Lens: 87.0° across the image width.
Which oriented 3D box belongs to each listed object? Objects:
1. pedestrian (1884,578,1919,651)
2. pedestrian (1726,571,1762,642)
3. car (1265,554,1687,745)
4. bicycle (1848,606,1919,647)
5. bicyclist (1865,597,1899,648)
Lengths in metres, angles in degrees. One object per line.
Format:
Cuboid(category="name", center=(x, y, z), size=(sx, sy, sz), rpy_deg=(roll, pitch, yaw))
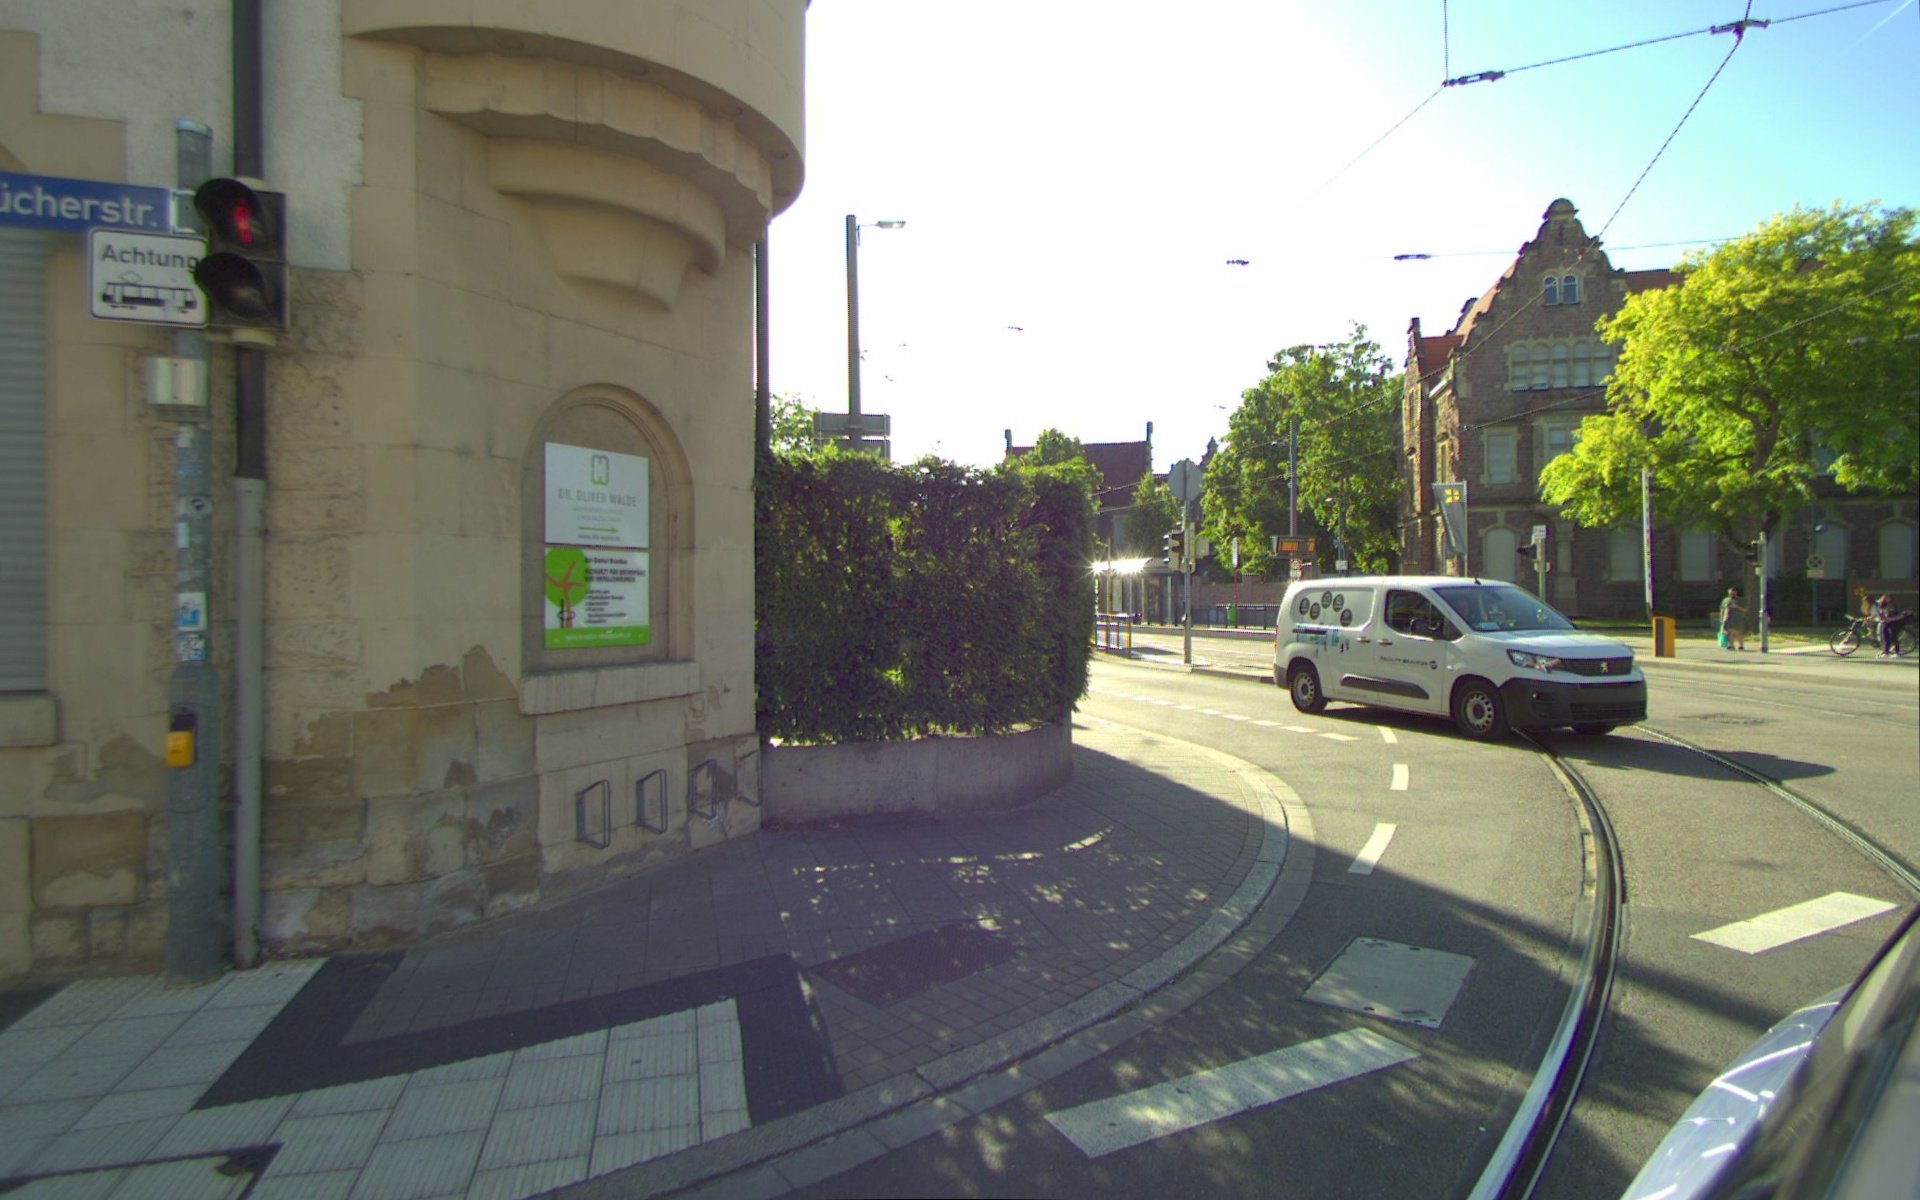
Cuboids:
Cuboid(category="pedestrian", center=(23.089, 0.342, 24.724), size=(0.477, 1.769, 0.669), rpy_deg=(0, 0, -36))
Cuboid(category="pedestrian", center=(22.211, 0.185, 28.667), size=(0.477, 1.979, 0.698), rpy_deg=(0, 0, -36))
Cuboid(category="car", center=(5.909, 0.432, 12.403), size=(1.819, 1.820, 4.707), rpy_deg=(-2, 2, -17))
Cuboid(category="bicycle", center=(23.744, 0.671, 25.839), size=(0.471, 1.009, 1.589), rpy_deg=(-1, 1, -44))
Cuboid(category="bicyclist", center=(23.644, 0.564, 25.947), size=(0.471, 1.300, 0.617), rpy_deg=(0, 0, -45))
